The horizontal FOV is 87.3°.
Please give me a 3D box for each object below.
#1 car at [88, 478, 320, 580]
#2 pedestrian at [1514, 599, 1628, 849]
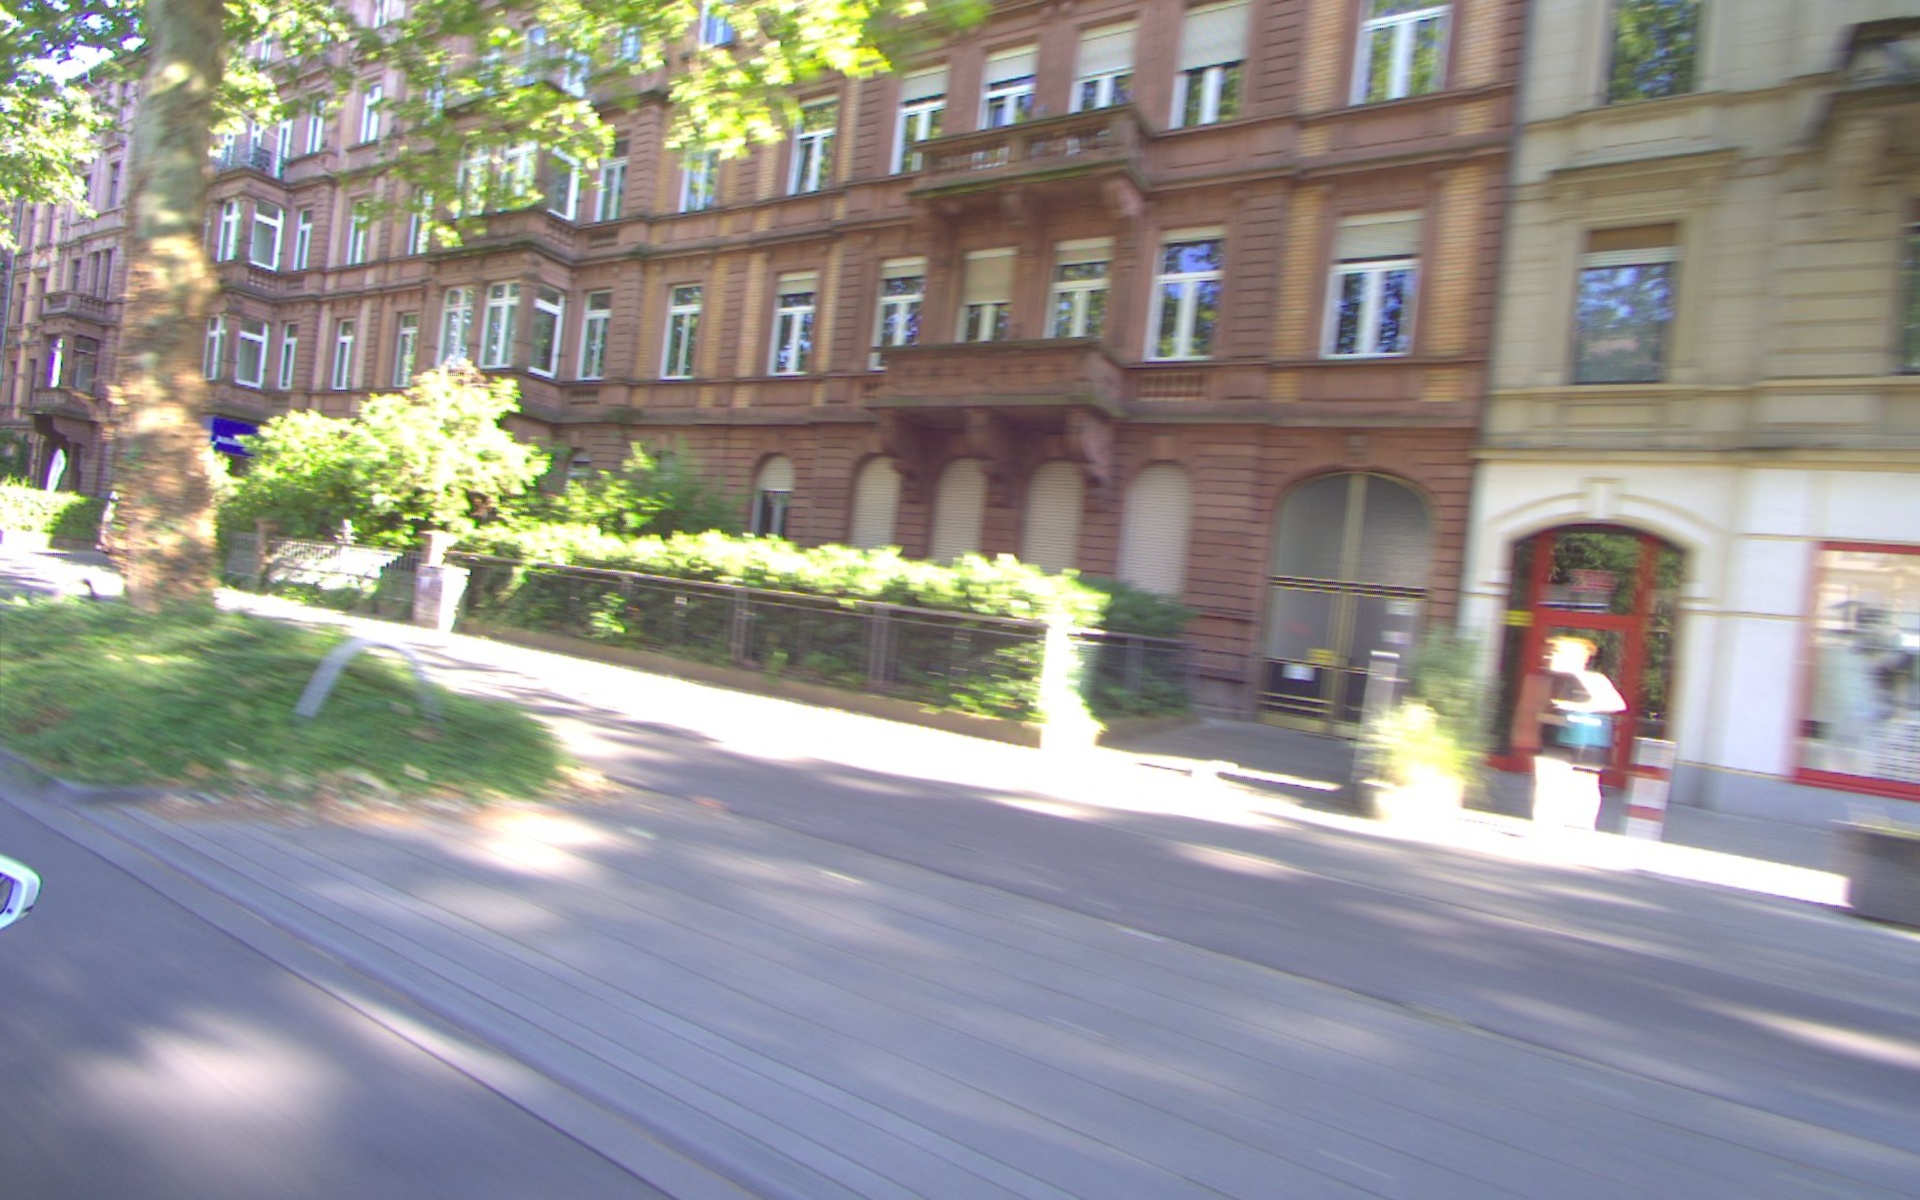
[{"bbox_3d":[-18.897,-1.721,25.338,1.966,2.040,4.179,7,1,30],"label":"car"},{"bbox_3d":[5.350,1.062,8.830,0.623,2.038,0.673,7,1,31],"label":"pedestrian"}]
